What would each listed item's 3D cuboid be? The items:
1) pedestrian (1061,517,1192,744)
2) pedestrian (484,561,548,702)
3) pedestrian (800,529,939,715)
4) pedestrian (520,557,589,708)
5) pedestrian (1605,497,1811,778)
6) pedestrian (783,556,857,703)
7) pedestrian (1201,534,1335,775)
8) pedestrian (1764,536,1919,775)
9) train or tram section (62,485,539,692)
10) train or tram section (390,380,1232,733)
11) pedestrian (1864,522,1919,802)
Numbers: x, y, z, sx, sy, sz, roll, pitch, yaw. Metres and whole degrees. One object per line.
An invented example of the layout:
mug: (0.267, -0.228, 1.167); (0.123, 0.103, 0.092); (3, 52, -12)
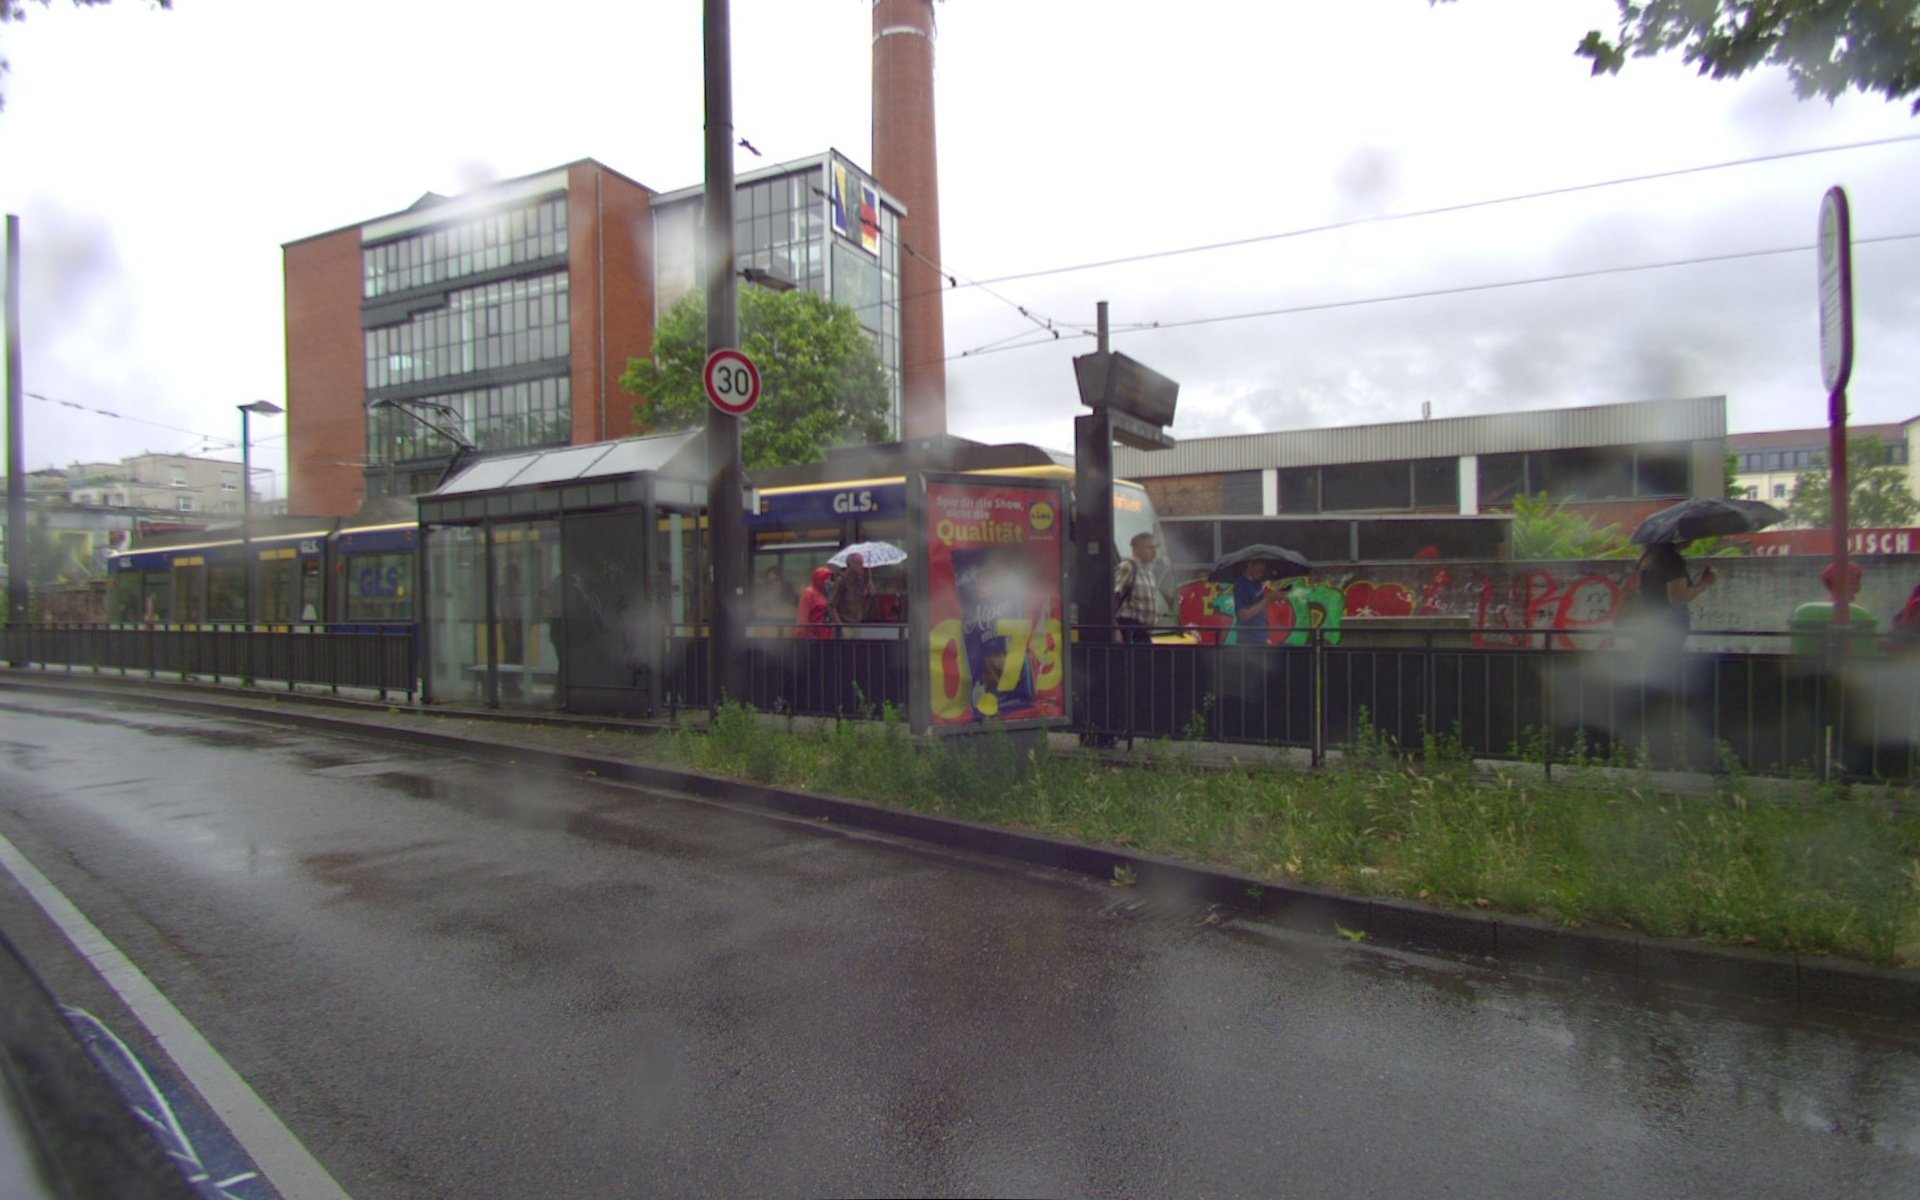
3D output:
pedestrian: (1.404, 0.241, 8.459); (0.826, 1.768, 0.860); (-1, 0, 27)
pedestrian: (-5.741, 0.392, 13.086); (0.620, 1.762, 0.515); (-1, 0, -41)
pedestrian: (-0.950, 0.260, 10.718); (1.072, 1.840, 0.975); (-4, -4, 30)
pedestrian: (-4.919, 0.378, 12.275); (0.620, 1.762, 0.565); (-1, 0, -41)
pedestrian: (4.819, 0.247, 6.586); (0.651, 1.696, 0.797); (-2, -3, 4)
pedestrian: (-1.579, 0.344, 11.510); (0.651, 1.584, 0.797); (-2, -3, 4)
pedestrian: (2.592, 0.428, 8.497); (0.888, 1.878, 0.863); (-1, 0, 29)
pedestrian: (6.018, 0.361, 6.933); (0.656, 1.531, 0.677); (-1, -1, 28)
train or tram section: (-15.481, -0.085, 22.720); (15.323, 3.572, 2.838); (-1, 0, 32)
train or tram section: (-3.177, -0.342, 15.017); (13.666, 3.572, 2.839); (-1, 0, 31)
pedestrian: (6.080, 0.355, 6.073); (0.815, 1.637, 0.723); (-3, -2, 34)
